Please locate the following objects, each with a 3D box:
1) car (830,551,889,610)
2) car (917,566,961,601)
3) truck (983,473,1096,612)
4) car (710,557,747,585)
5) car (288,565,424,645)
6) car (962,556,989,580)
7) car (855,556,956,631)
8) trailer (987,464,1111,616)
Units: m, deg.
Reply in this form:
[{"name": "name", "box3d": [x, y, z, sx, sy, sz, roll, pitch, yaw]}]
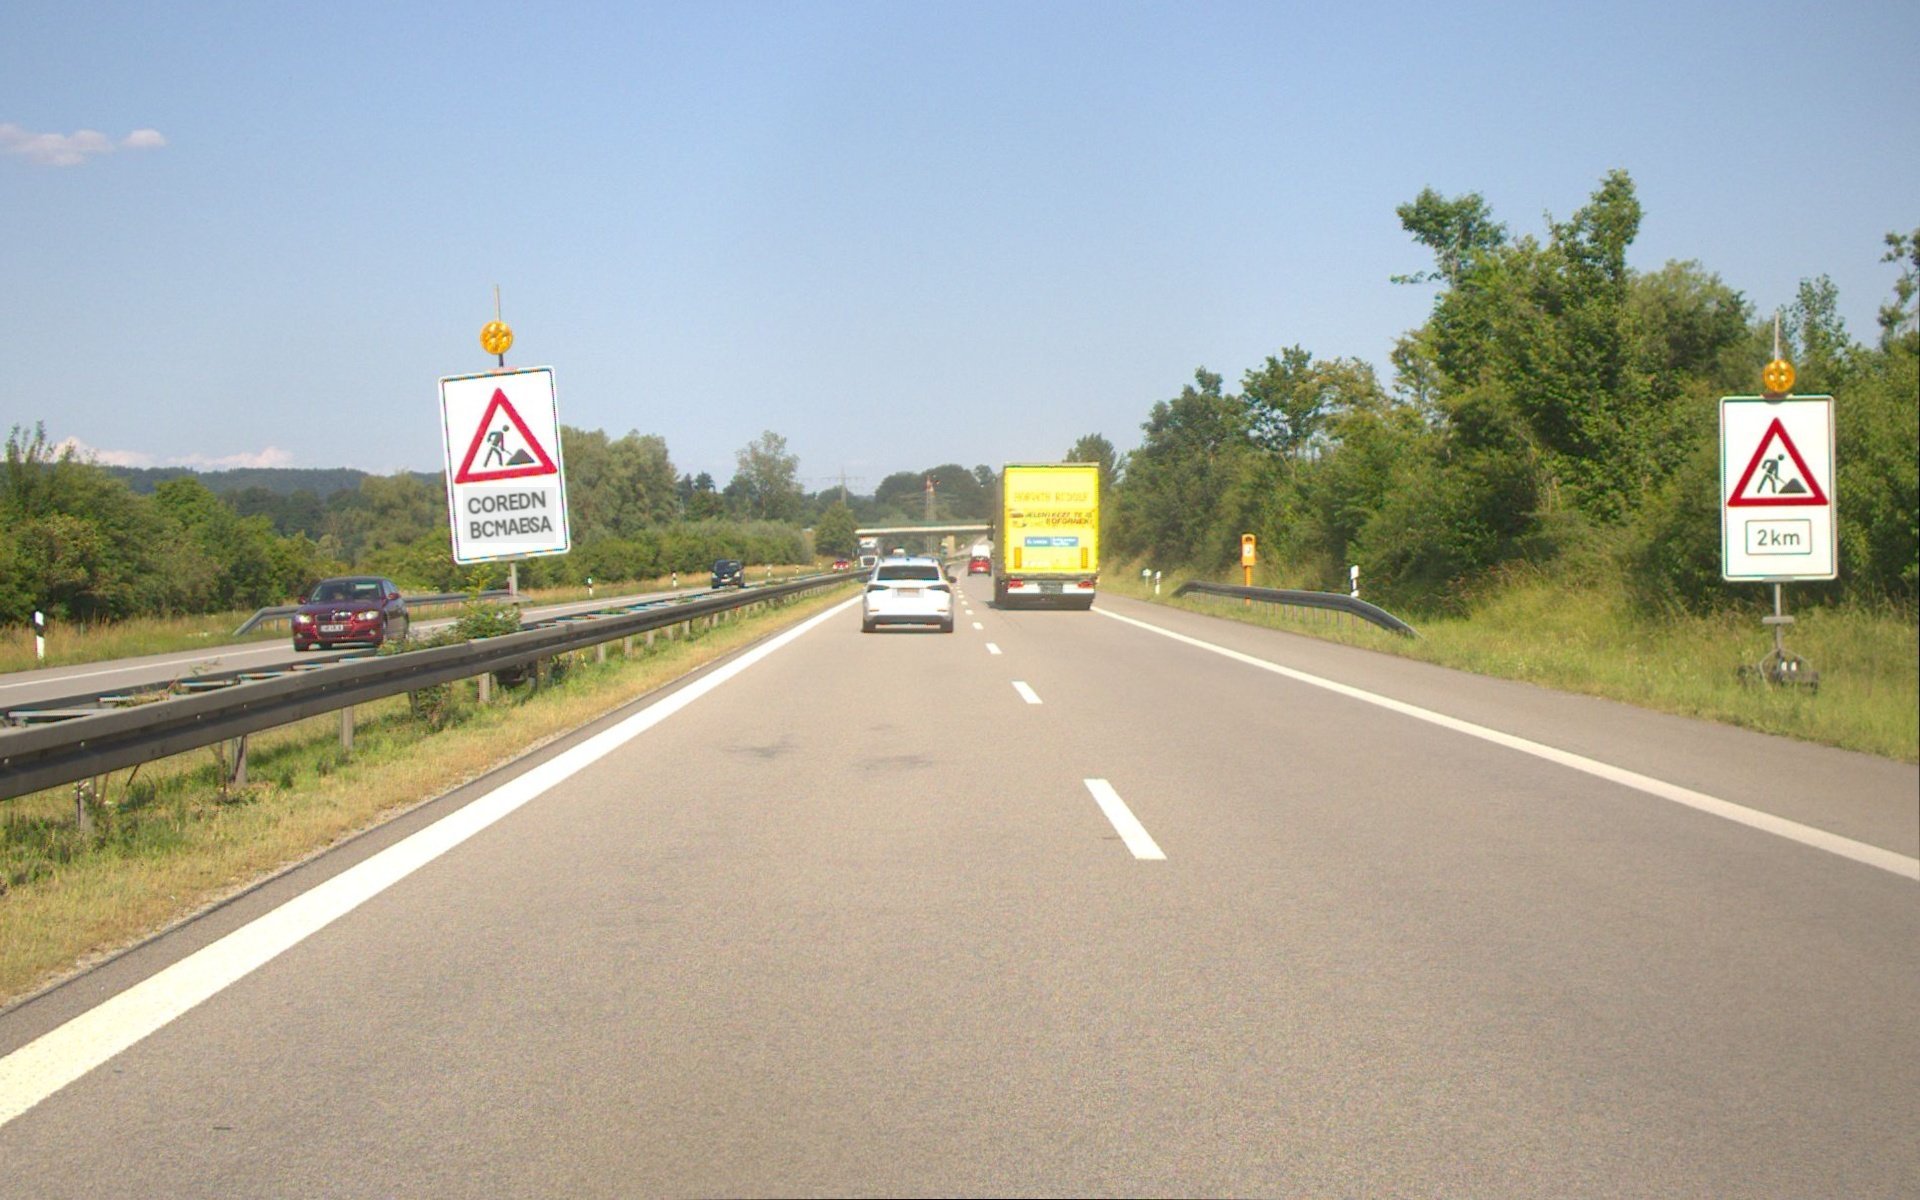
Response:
[{"name": "car", "box3d": [-3.536, -0.688, 121.147, 1.993, 2.007, 4.000, 1, 0, -1]}, {"name": "car", "box3d": [-0.923, -0.723, 152.334, 1.843, 1.515, 4.000, 1, 0, 1]}, {"name": "truck", "box3d": [2.397, -1.746, 106.151, 3.168, 4.100, 6.389, 1, 0, -1]}, {"name": "car", "box3d": [-13.428, -1.667, 199.502, 1.830, 1.566, 4.656, -2, 0, -1]}, {"name": "car", "box3d": [-11.818, 0.066, 67.569, 1.832, 1.393, 4.923, -3, 1, -1]}, {"name": "car", "box3d": [1.164, -2.394, 257.298, 1.902, 1.677, 4.731, 2, 0, -1]}, {"name": "car", "box3d": [-1.045, -0.143, 67.481, 1.843, 1.411, 4.000, 1, 0, 1]}, {"name": "trailer", "box3d": [2.467, -1.681, 99.716, 3.184, 4.045, 13.187, 1, 0, 0]}]
